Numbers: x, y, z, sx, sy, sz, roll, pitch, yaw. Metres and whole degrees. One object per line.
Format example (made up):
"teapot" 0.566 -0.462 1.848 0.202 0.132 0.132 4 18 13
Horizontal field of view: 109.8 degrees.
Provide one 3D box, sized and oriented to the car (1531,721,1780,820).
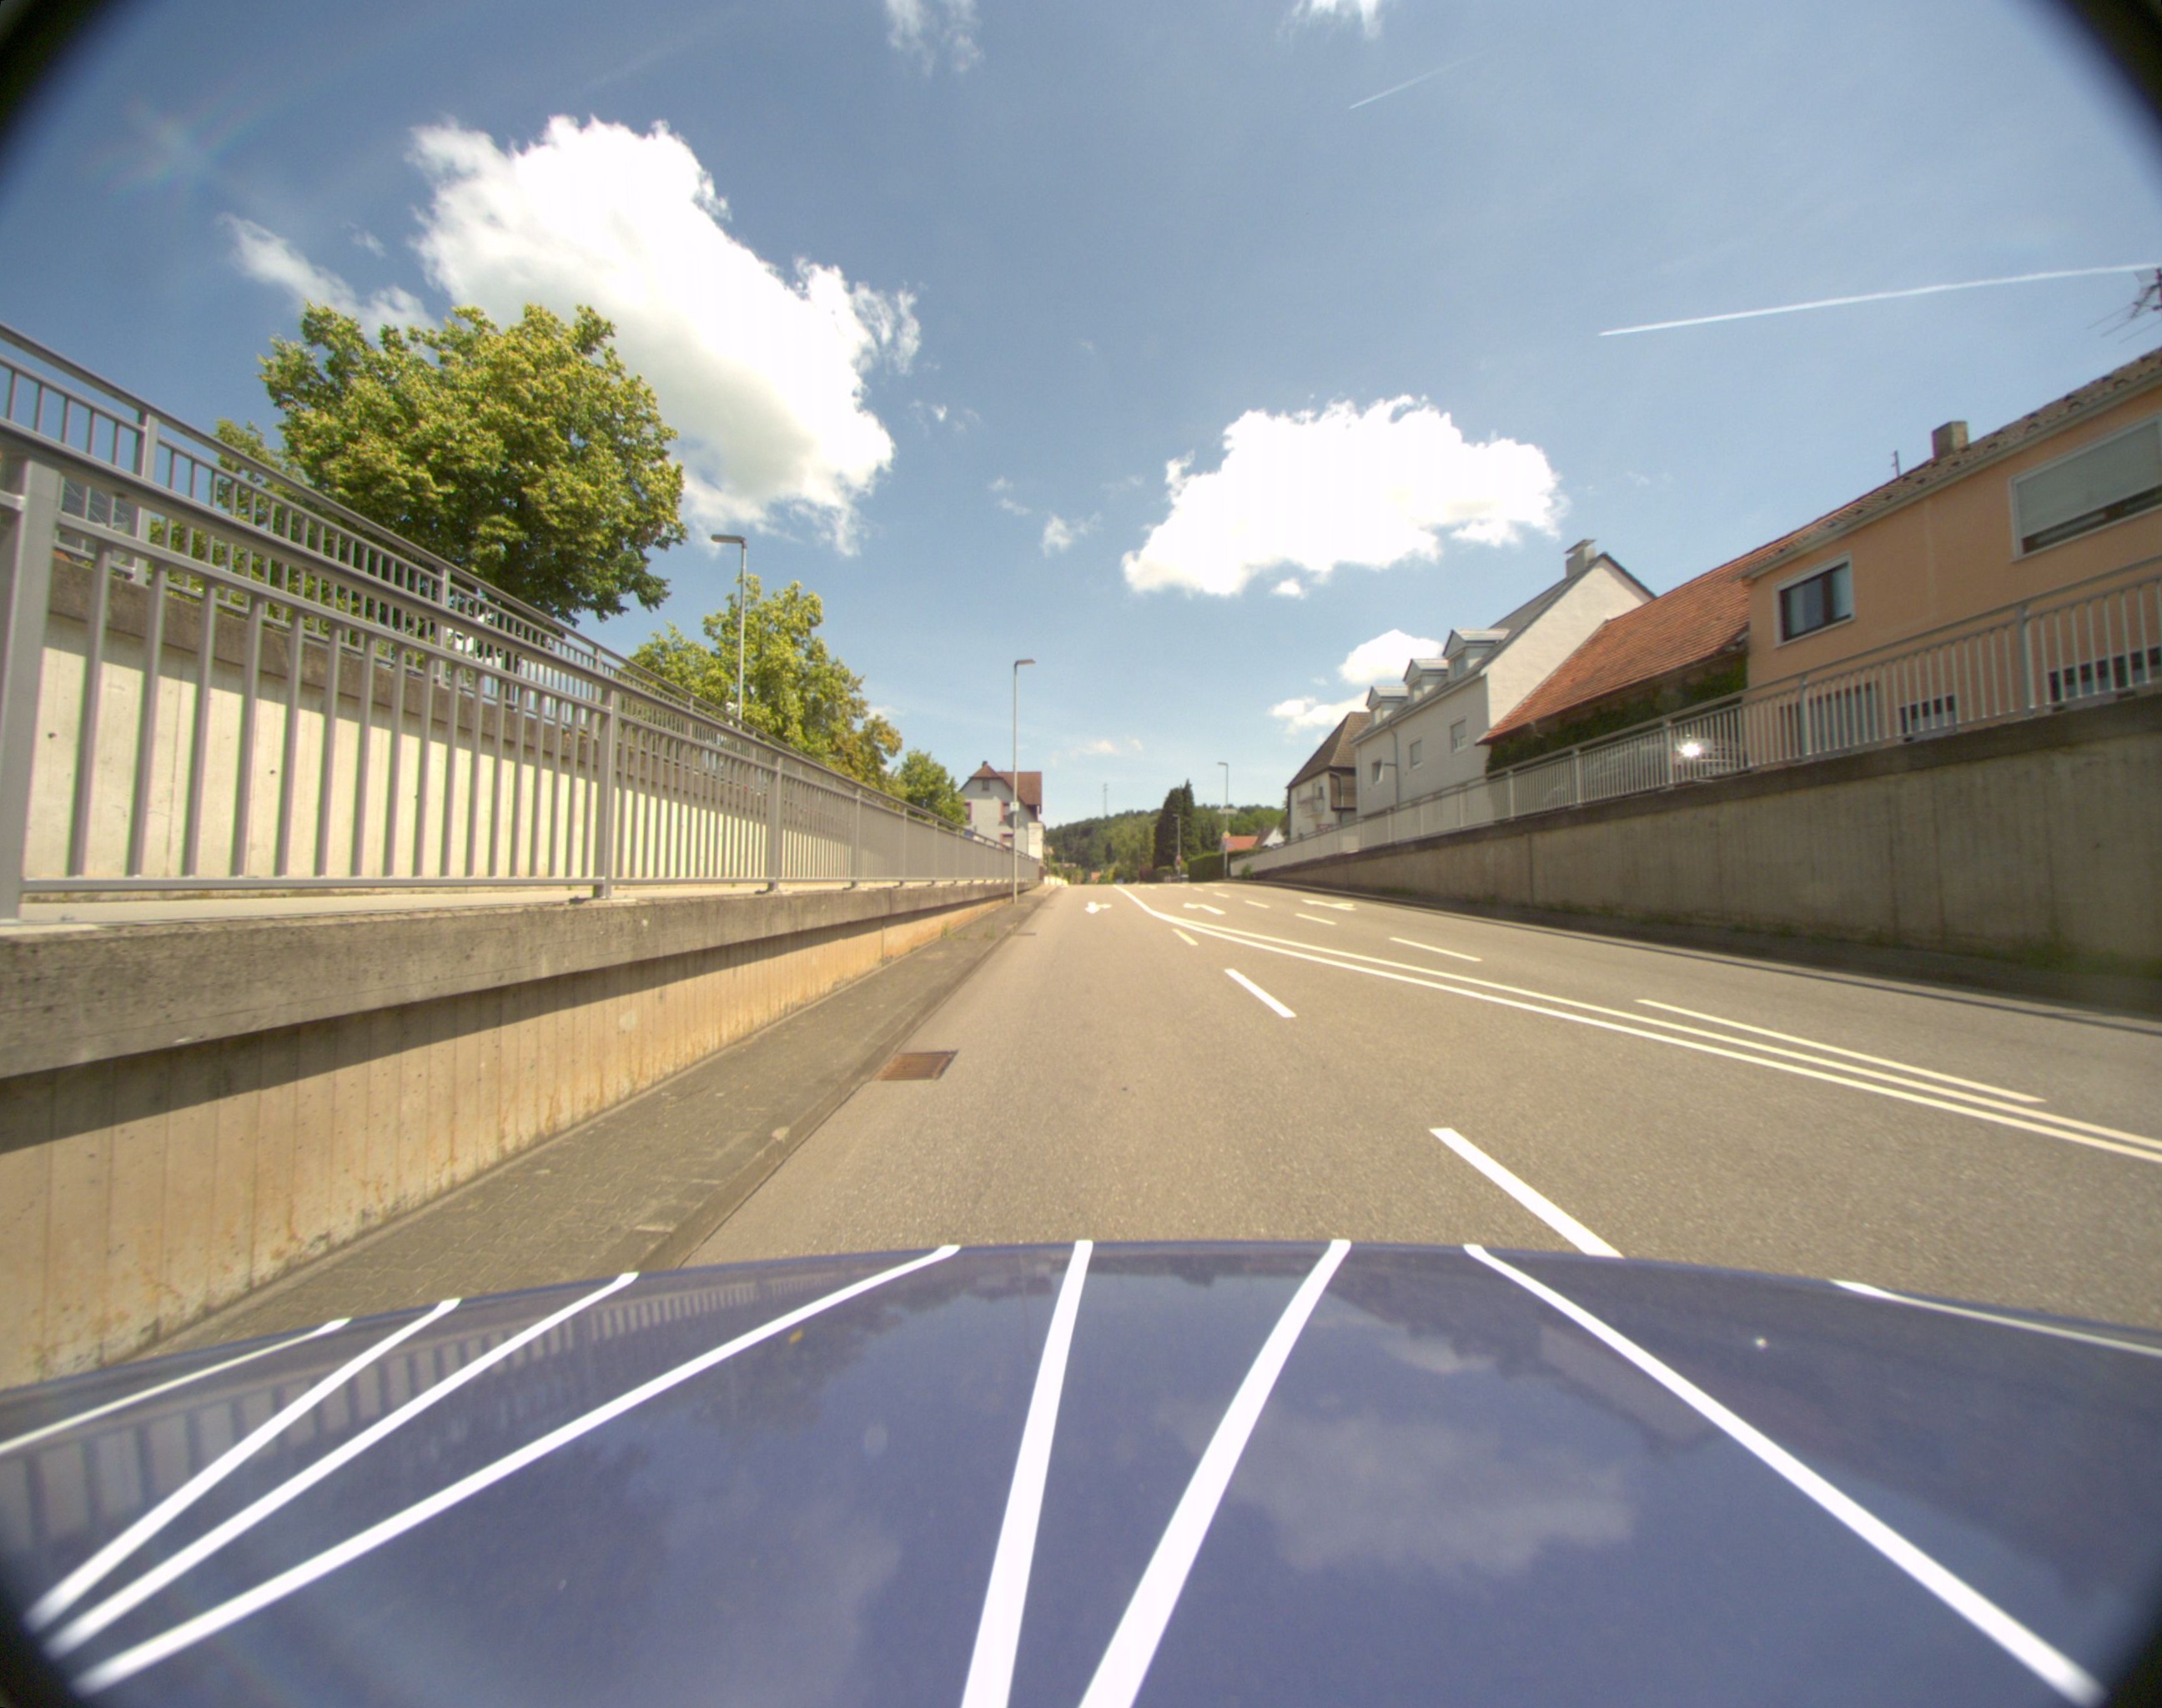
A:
"car" 11.709 -1.621 15.959 1.790 1.396 4.394 -1 -2 -1
